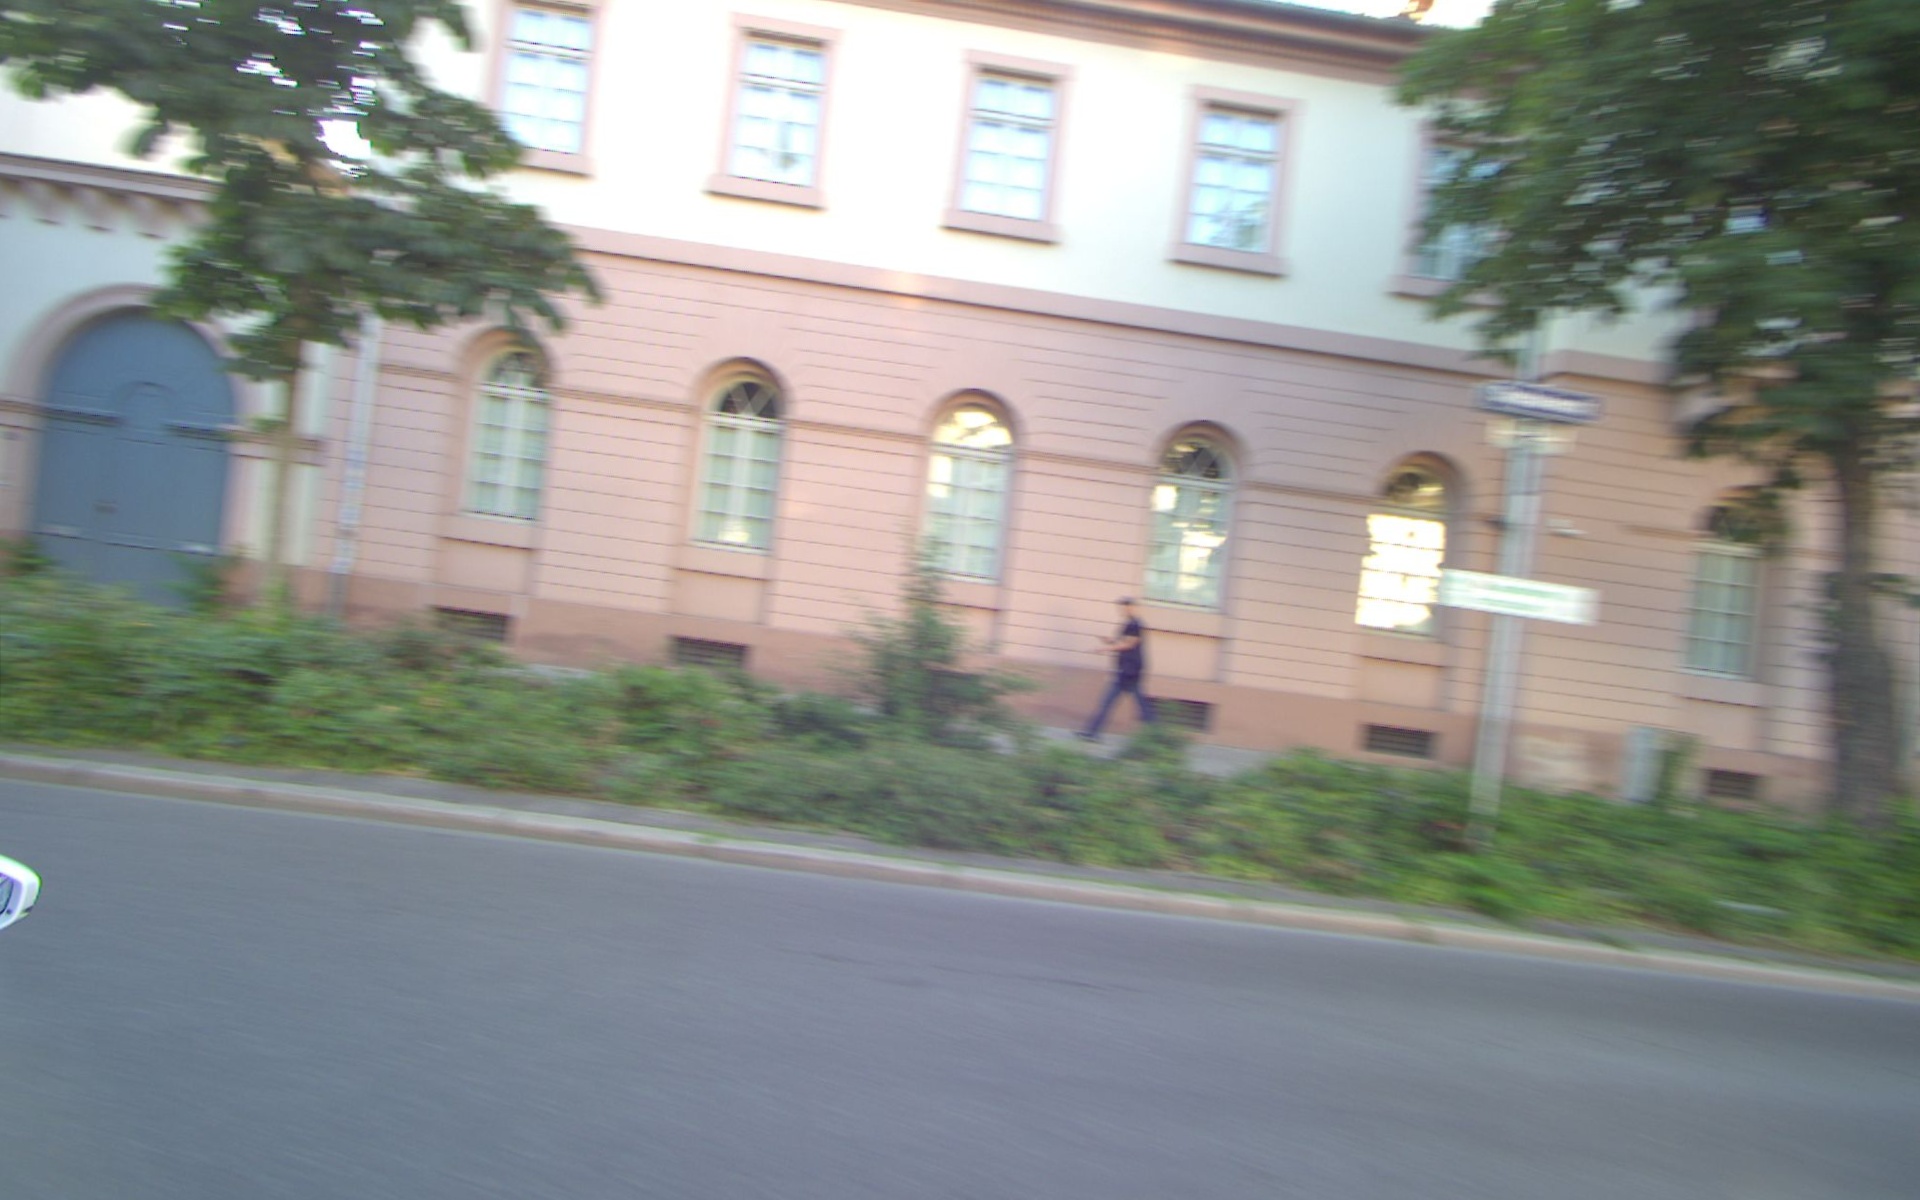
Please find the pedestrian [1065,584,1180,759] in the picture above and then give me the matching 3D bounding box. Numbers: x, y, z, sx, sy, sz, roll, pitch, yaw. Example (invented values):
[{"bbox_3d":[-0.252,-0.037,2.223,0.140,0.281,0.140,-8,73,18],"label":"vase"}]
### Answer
[{"bbox_3d":[1.895,0.813,11.876,1.062,1.863,0.800,7,2,5],"label":"pedestrian"}]
